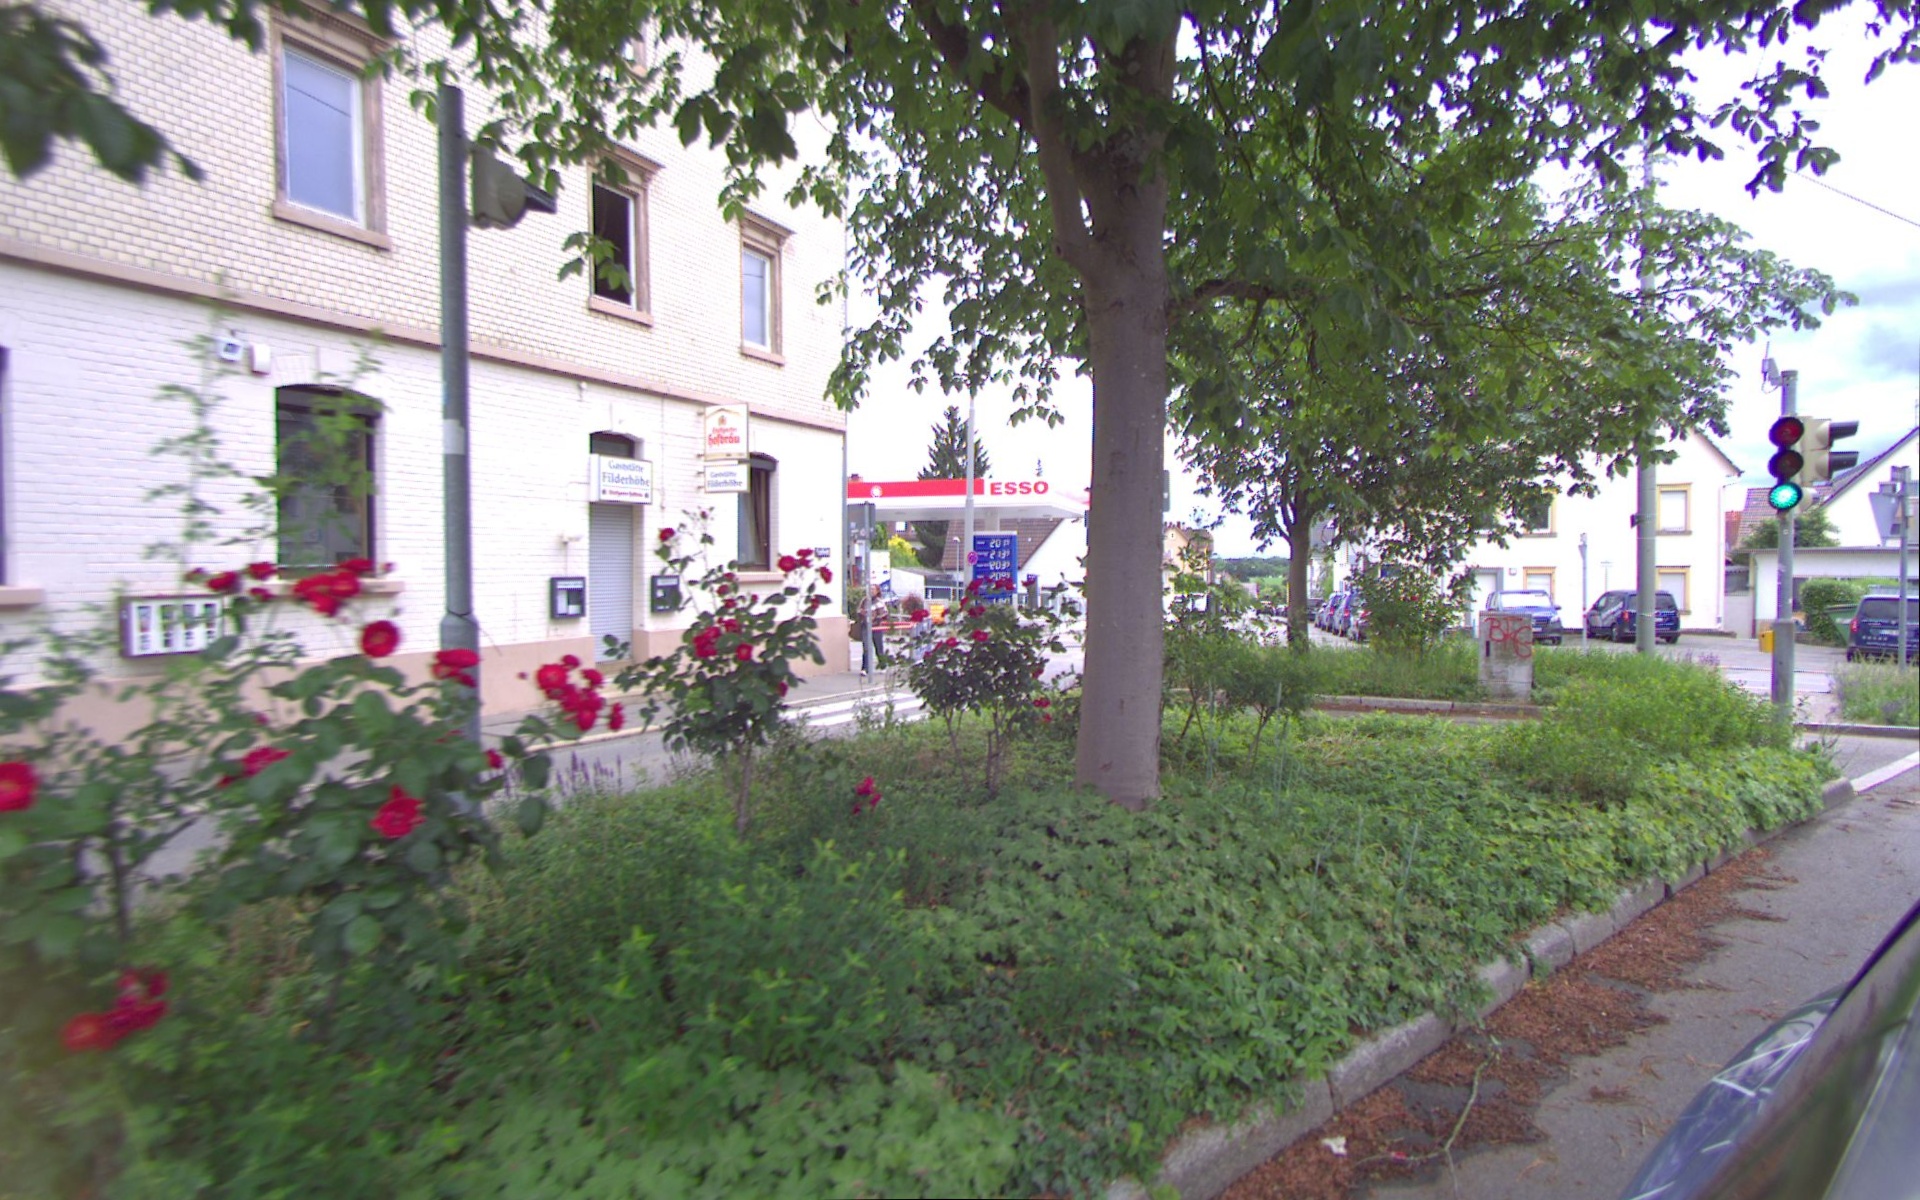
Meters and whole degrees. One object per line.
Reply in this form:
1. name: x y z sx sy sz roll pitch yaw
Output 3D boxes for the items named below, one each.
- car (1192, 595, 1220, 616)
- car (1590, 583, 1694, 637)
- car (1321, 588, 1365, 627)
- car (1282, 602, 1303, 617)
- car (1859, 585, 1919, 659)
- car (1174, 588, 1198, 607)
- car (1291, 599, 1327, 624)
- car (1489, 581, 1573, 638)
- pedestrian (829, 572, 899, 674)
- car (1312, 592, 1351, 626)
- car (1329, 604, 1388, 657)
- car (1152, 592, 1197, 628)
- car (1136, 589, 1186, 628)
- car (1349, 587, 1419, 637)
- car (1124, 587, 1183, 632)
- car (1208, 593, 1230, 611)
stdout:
1. car: 19.220 0.432 79.021 1.851 1.616 3.878 0 -1 17
2. car: 23.479 0.357 35.021 1.844 1.750 3.977 0 -1 17
3. car: 18.273 0.373 48.398 1.699 1.753 3.977 0 -1 17
4. car: 39.398 1.171 120.086 2.251 1.753 3.977 0 -1 17
5. car: 25.025 0.580 26.523 4.495 1.761 1.748 1 2 -44
6. car: 20.445 -0.178 91.579 1.851 1.616 3.878 0 -1 17
7. car: 25.019 0.810 72.671 2.251 1.753 3.977 0 -1 17
8. car: 19.874 0.347 35.405 1.880 1.826 4.857 0 -1 22
9. pedestrian: -1.696 0.400 18.001 0.851 1.755 1.013 -1 -1 25
10. car: 19.615 0.480 53.546 1.699 1.753 3.977 0 -1 17
11. car: 16.211 1.216 41.341 1.751 1.968 4.301 3 0 16
12. car: 10.021 0.466 47.176 1.699 1.616 3.977 0 -1 17
13. car: 8.502 0.305 42.600 1.606 1.493 3.747 1 2 18
14. car: 14.660 0.416 35.175 1.750 1.639 3.979 0 -1 16
15. car: 7.286 0.358 37.883 1.751 1.498 3.809 3 0 17
16. car: 24.532 0.206 95.793 1.851 1.616 3.878 0 -1 17
